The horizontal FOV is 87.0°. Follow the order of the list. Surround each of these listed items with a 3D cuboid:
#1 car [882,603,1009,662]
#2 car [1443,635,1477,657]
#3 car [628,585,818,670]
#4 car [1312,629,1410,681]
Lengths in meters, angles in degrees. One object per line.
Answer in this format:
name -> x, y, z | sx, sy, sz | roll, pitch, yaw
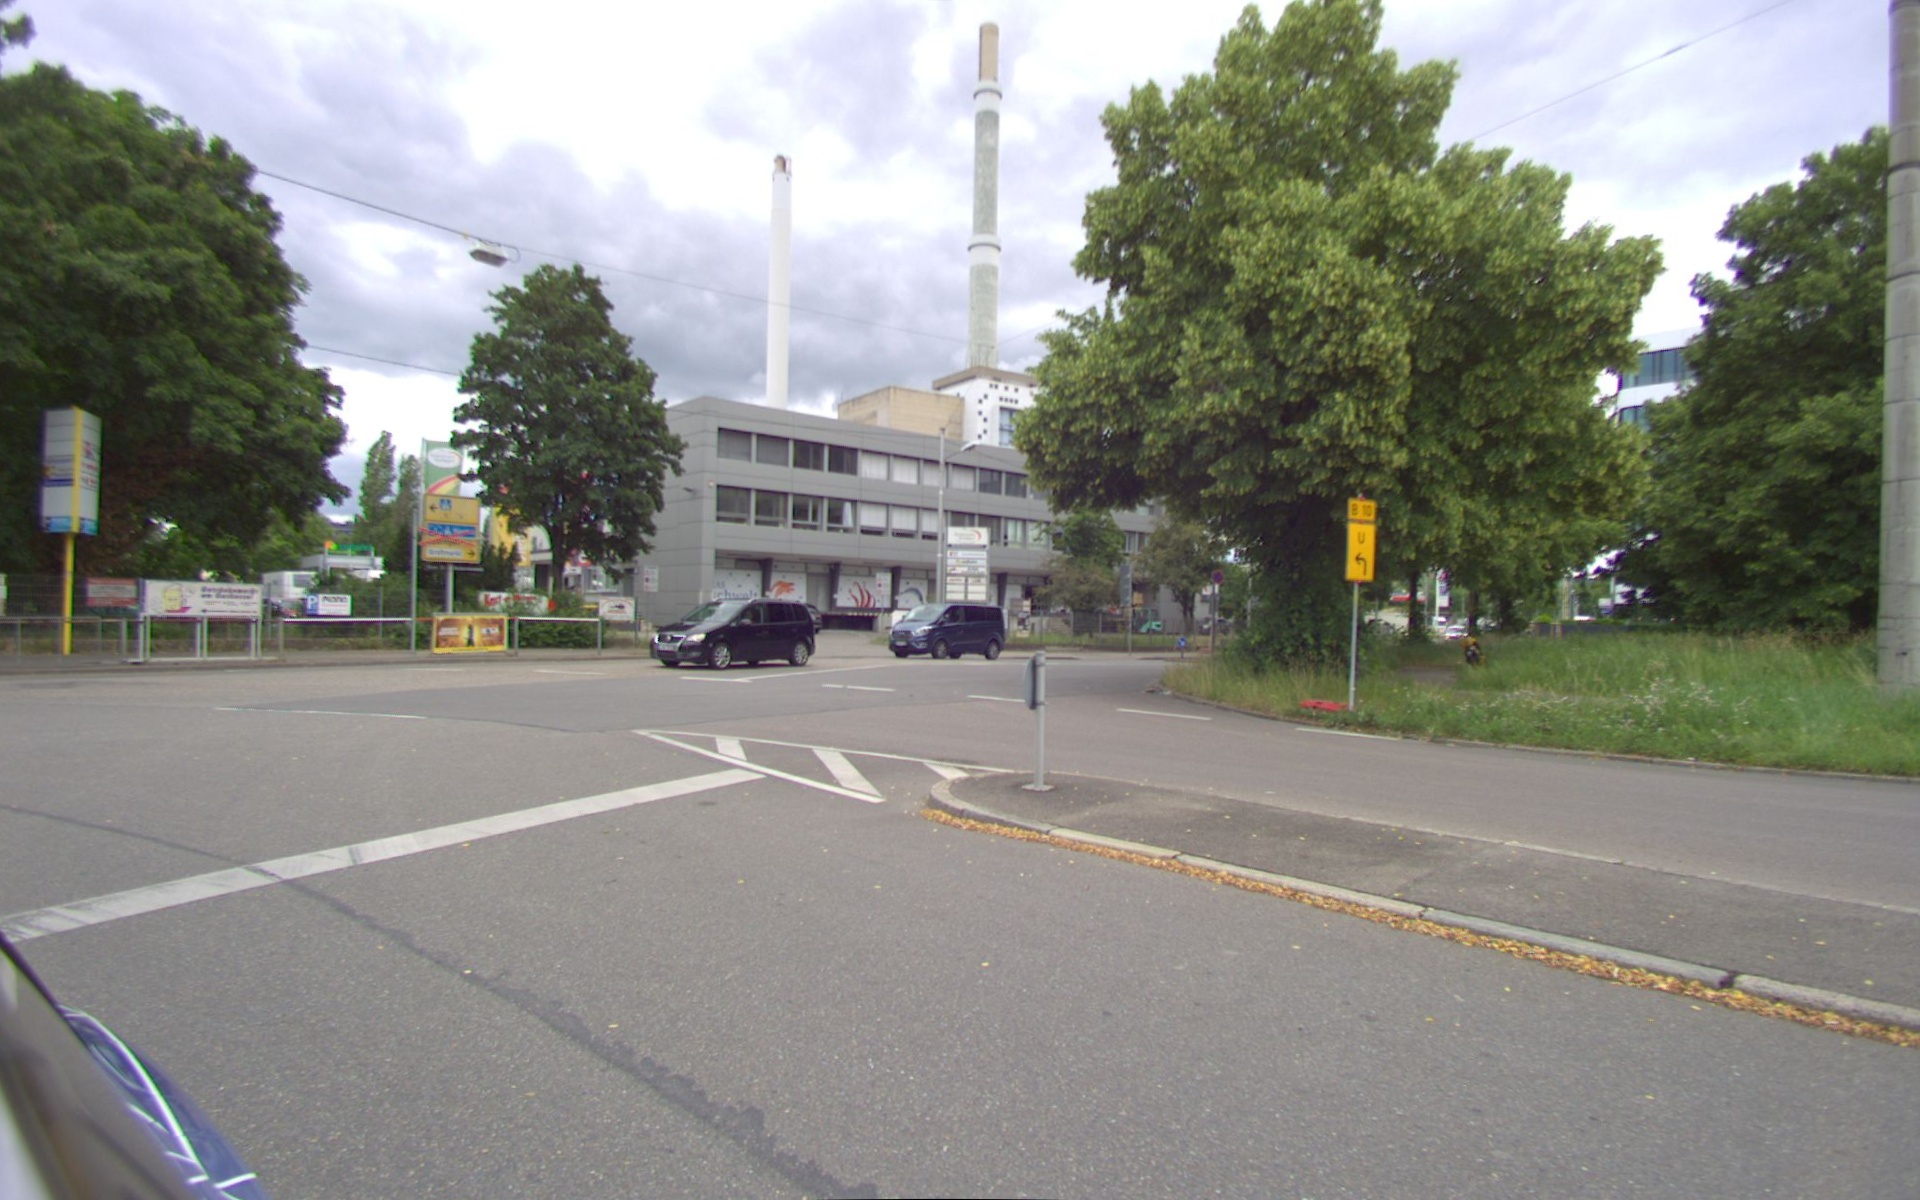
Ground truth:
car -> -0.428, 1.115, 35.782 | 1.832, 1.959, 4.738 | 0, -1, 40
car -> 46.816, 4.268, 94.724 | 1.832, 1.959, 4.508 | 0, -1, 40
car -> -5.381, 0.677, 23.511 | 1.827, 1.785, 4.183 | 0, -3, 32
car -> 13.226, 1.765, 33.298 | 1.871, 1.331, 3.449 | 2, 3, 43
